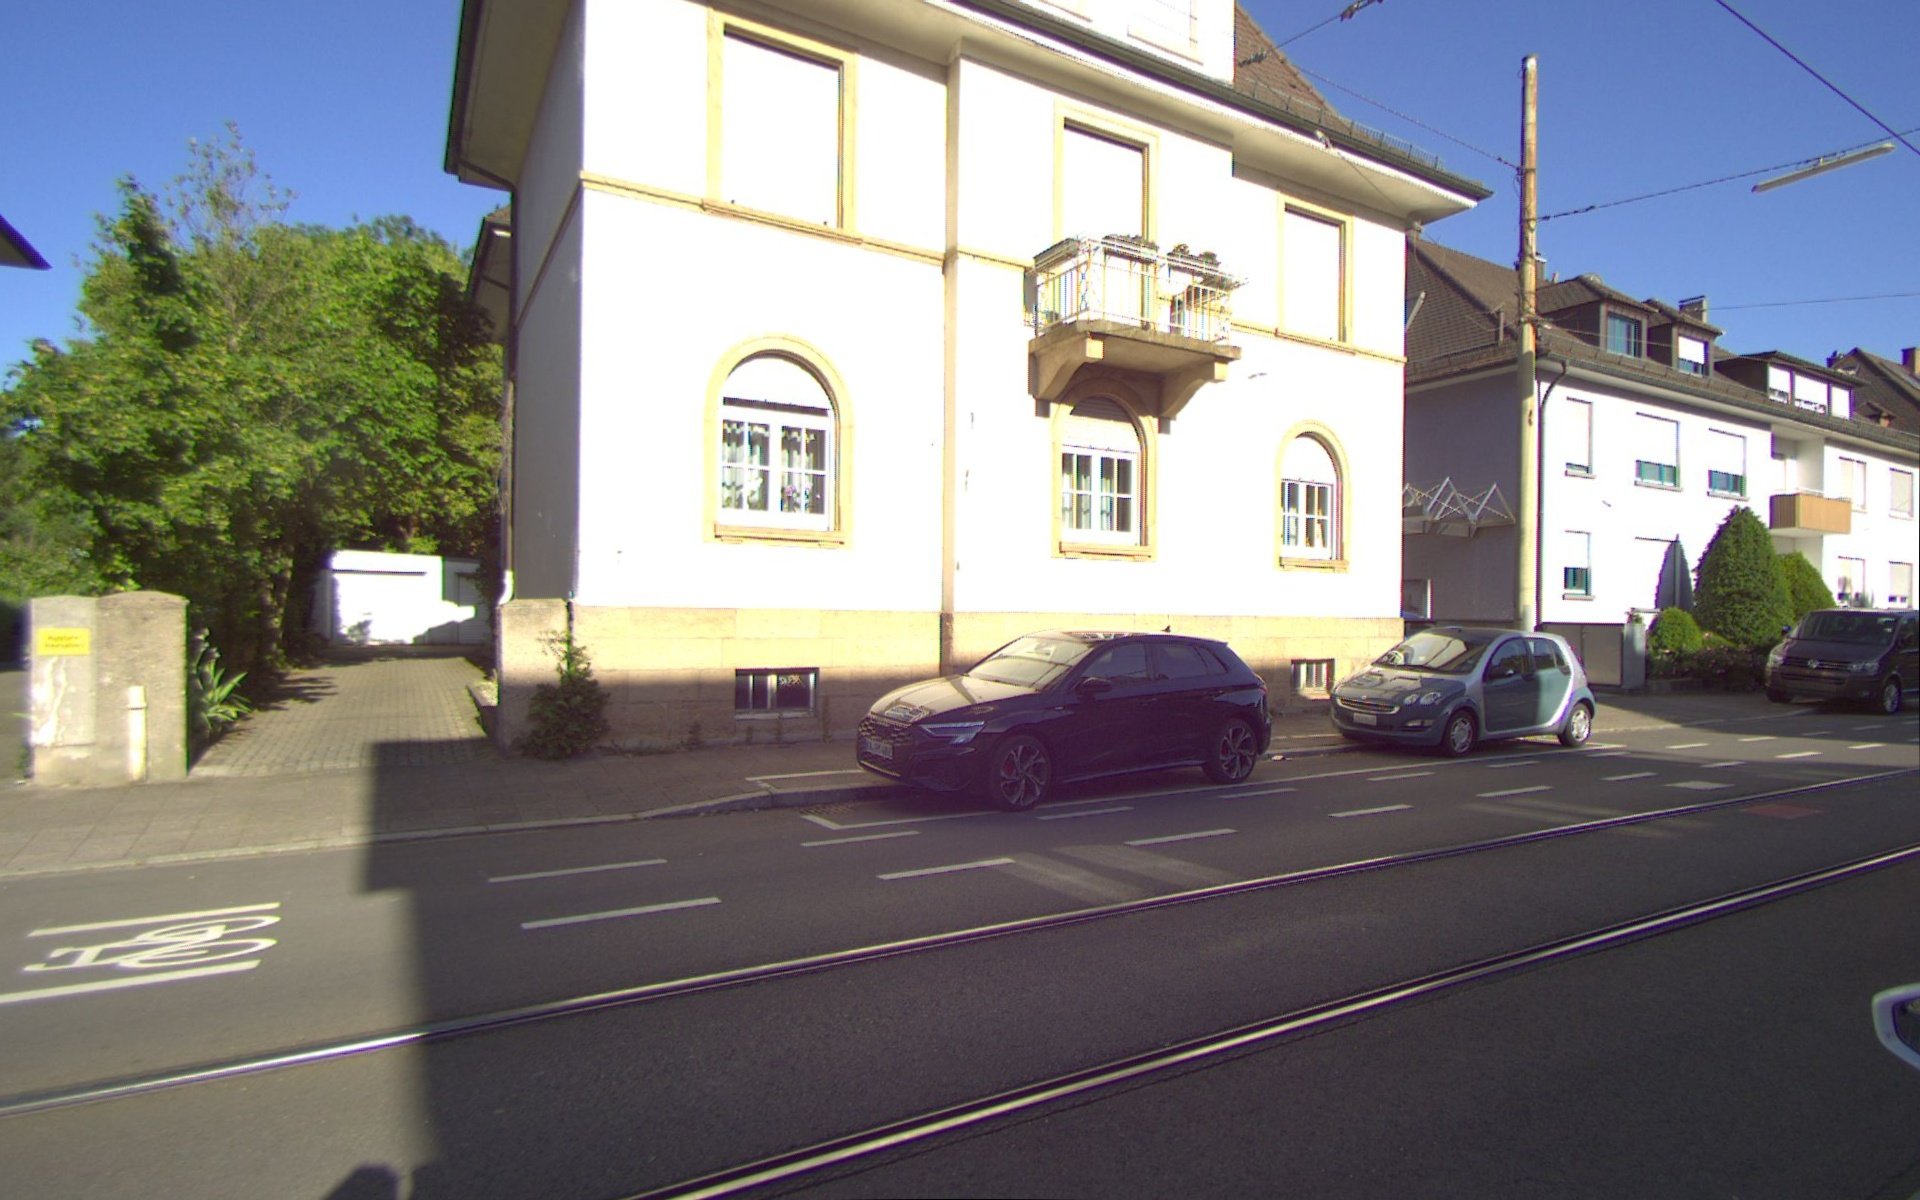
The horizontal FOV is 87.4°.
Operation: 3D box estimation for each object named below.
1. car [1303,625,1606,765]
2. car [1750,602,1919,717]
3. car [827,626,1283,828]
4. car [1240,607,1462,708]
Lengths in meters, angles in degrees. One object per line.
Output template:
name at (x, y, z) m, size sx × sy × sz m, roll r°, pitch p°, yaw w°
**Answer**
car at (6.403, 1.119, 12.939) m, size 3.790 × 1.497 × 1.668 m, roll 1°, pitch 1°, yaw -30°
car at (18.275, 1.124, 20.267) m, size 4.889 × 2.041 × 1.897 m, roll 1°, pitch 1°, yaw -29°
car at (1.012, 1.013, 9.460) m, size 4.207 × 1.497 × 1.652 m, roll 1°, pitch -1°, yaw -34°
car at (7.693, 1.060, 20.100) m, size 1.735 × 1.807 × 3.905 m, roll 1°, pitch -1°, yaw -31°
